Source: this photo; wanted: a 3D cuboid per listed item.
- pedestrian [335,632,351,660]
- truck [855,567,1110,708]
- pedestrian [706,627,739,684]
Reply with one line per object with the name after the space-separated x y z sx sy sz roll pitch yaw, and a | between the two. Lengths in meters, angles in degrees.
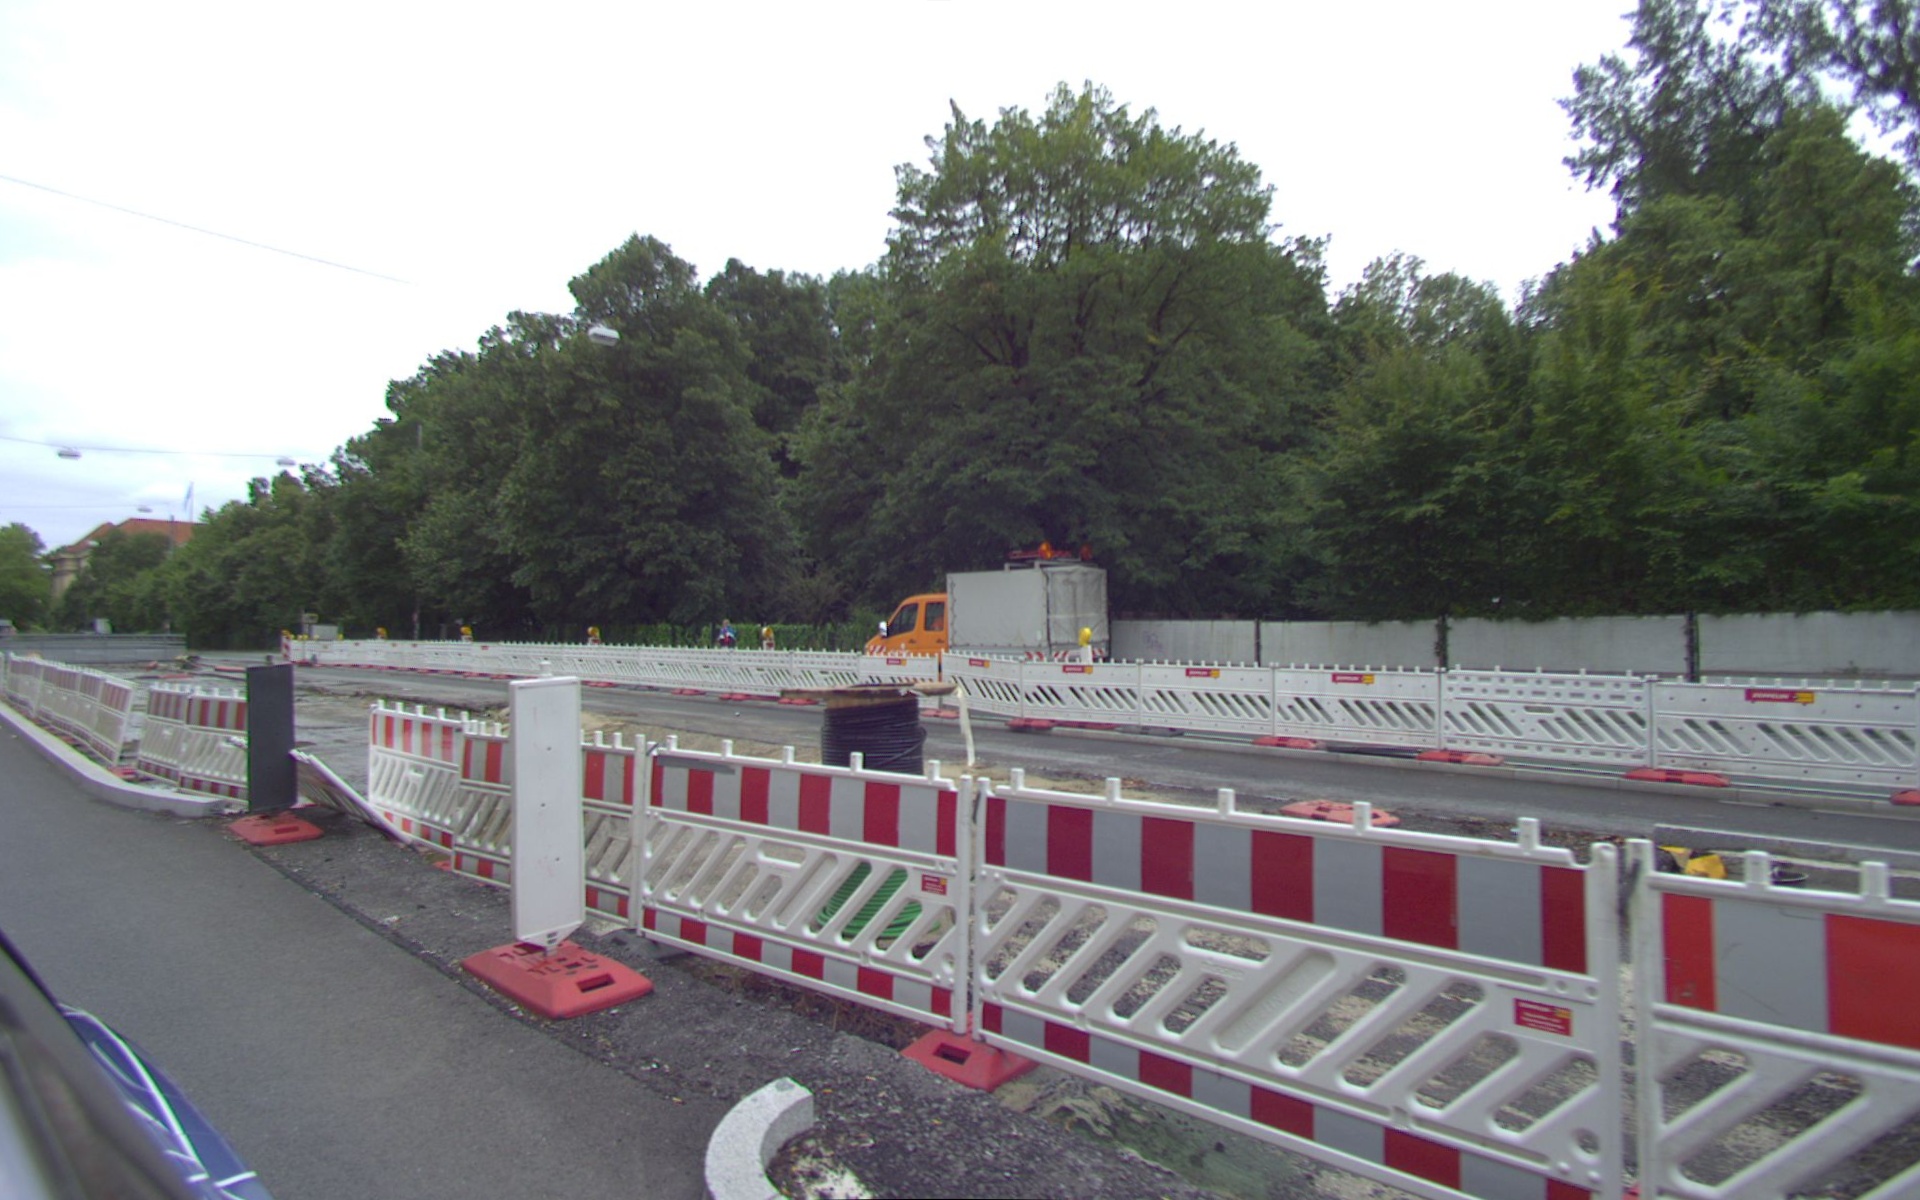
-36.790 2.727 60.313 0.698 1.653 0.656 -2 -3 43 | pedestrian
0.325 0.839 22.455 5.870 2.749 1.971 -2 -3 43 | truck
-6.865 1.591 29.210 0.698 1.615 0.656 -2 -3 43 | pedestrian
